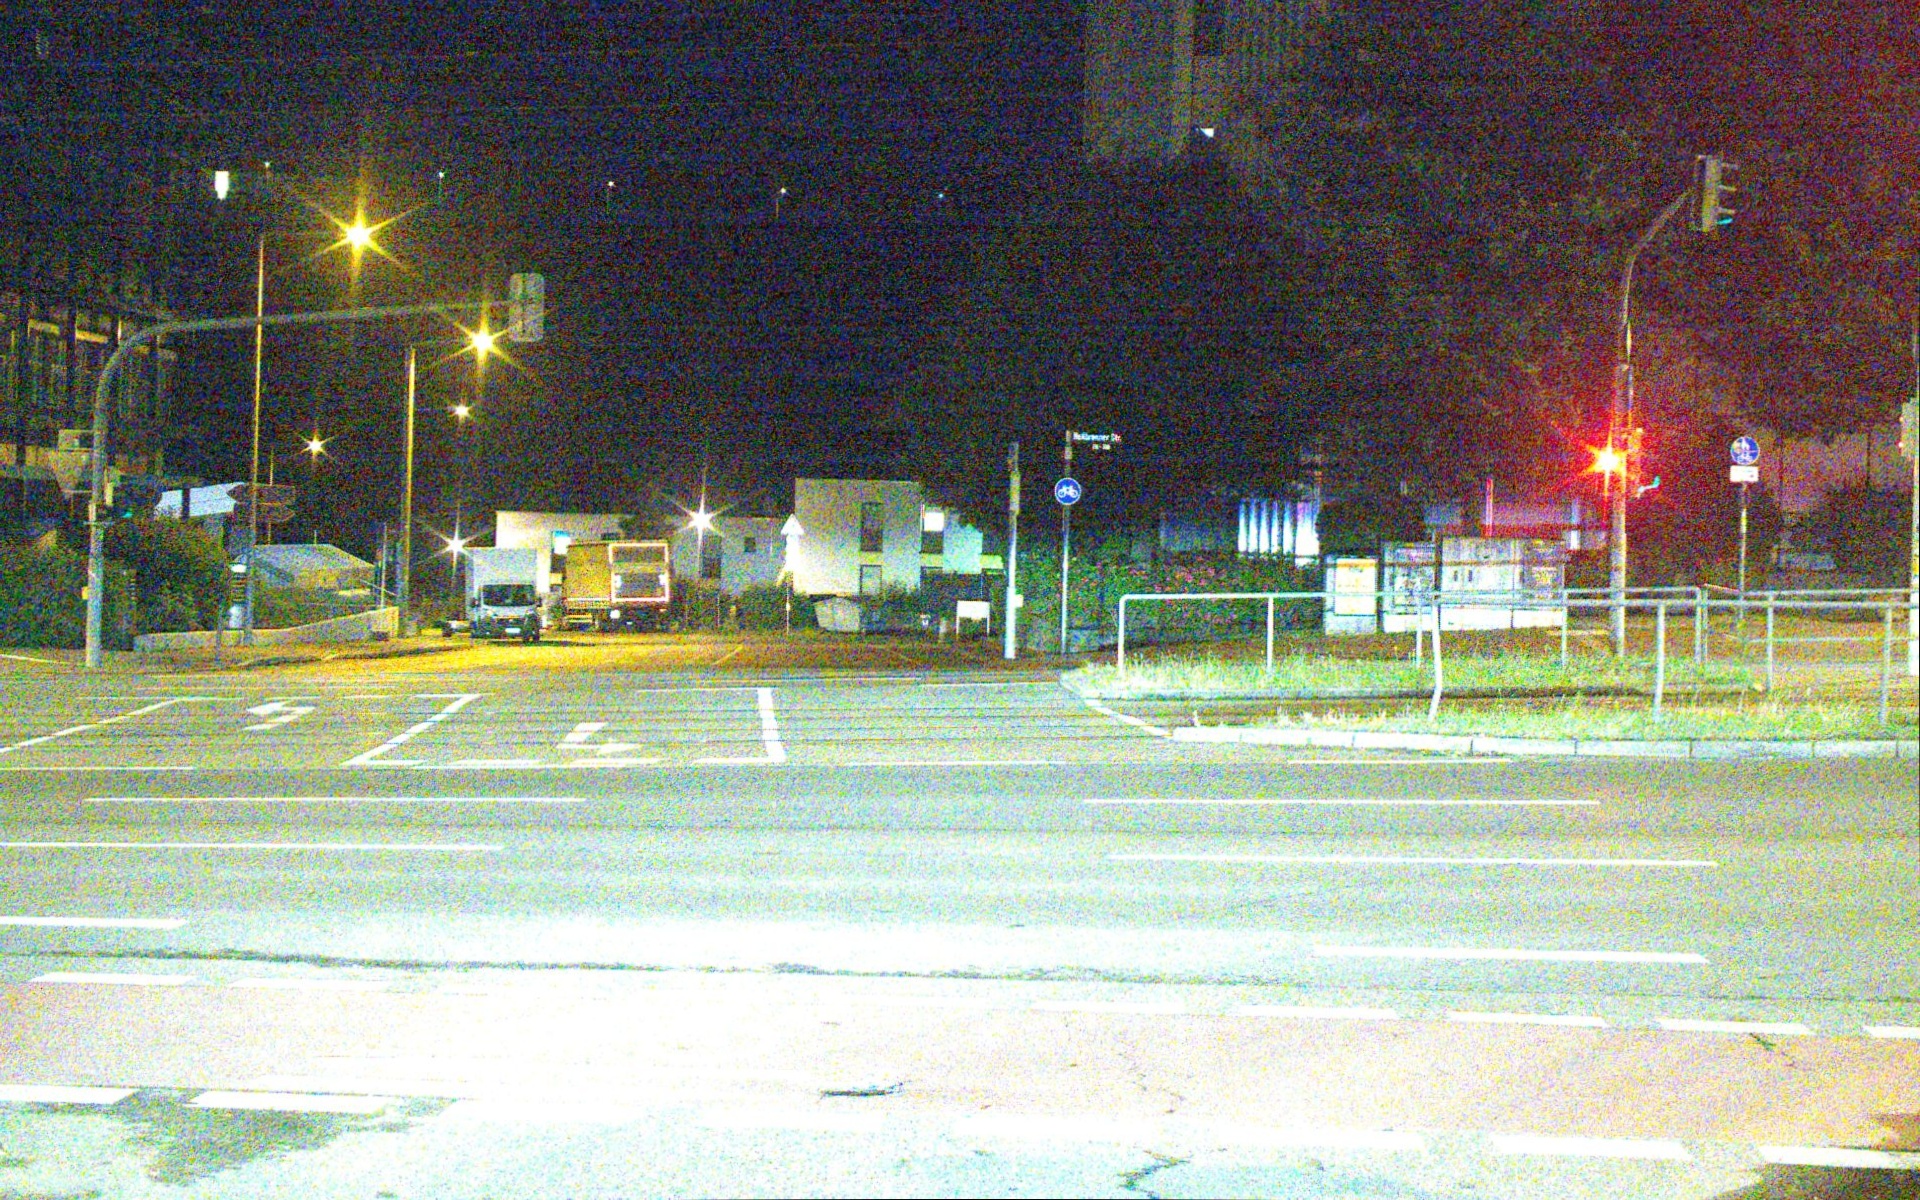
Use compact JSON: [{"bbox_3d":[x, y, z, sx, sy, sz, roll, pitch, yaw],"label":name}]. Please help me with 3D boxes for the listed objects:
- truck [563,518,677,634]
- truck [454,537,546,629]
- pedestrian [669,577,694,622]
[{"bbox_3d":[-14.775,-1.007,148.852,3.359,4.826,7.908,1,0,-17],"label":"truck"},{"bbox_3d":[-16.064,-0.590,119.721,2.417,3.078,6.439,1,0,-14],"label":"truck"},{"bbox_3d":[-11.937,-0.005,147.418,0.849,1.905,1.007,1,0,-18],"label":"pedestrian"}]
